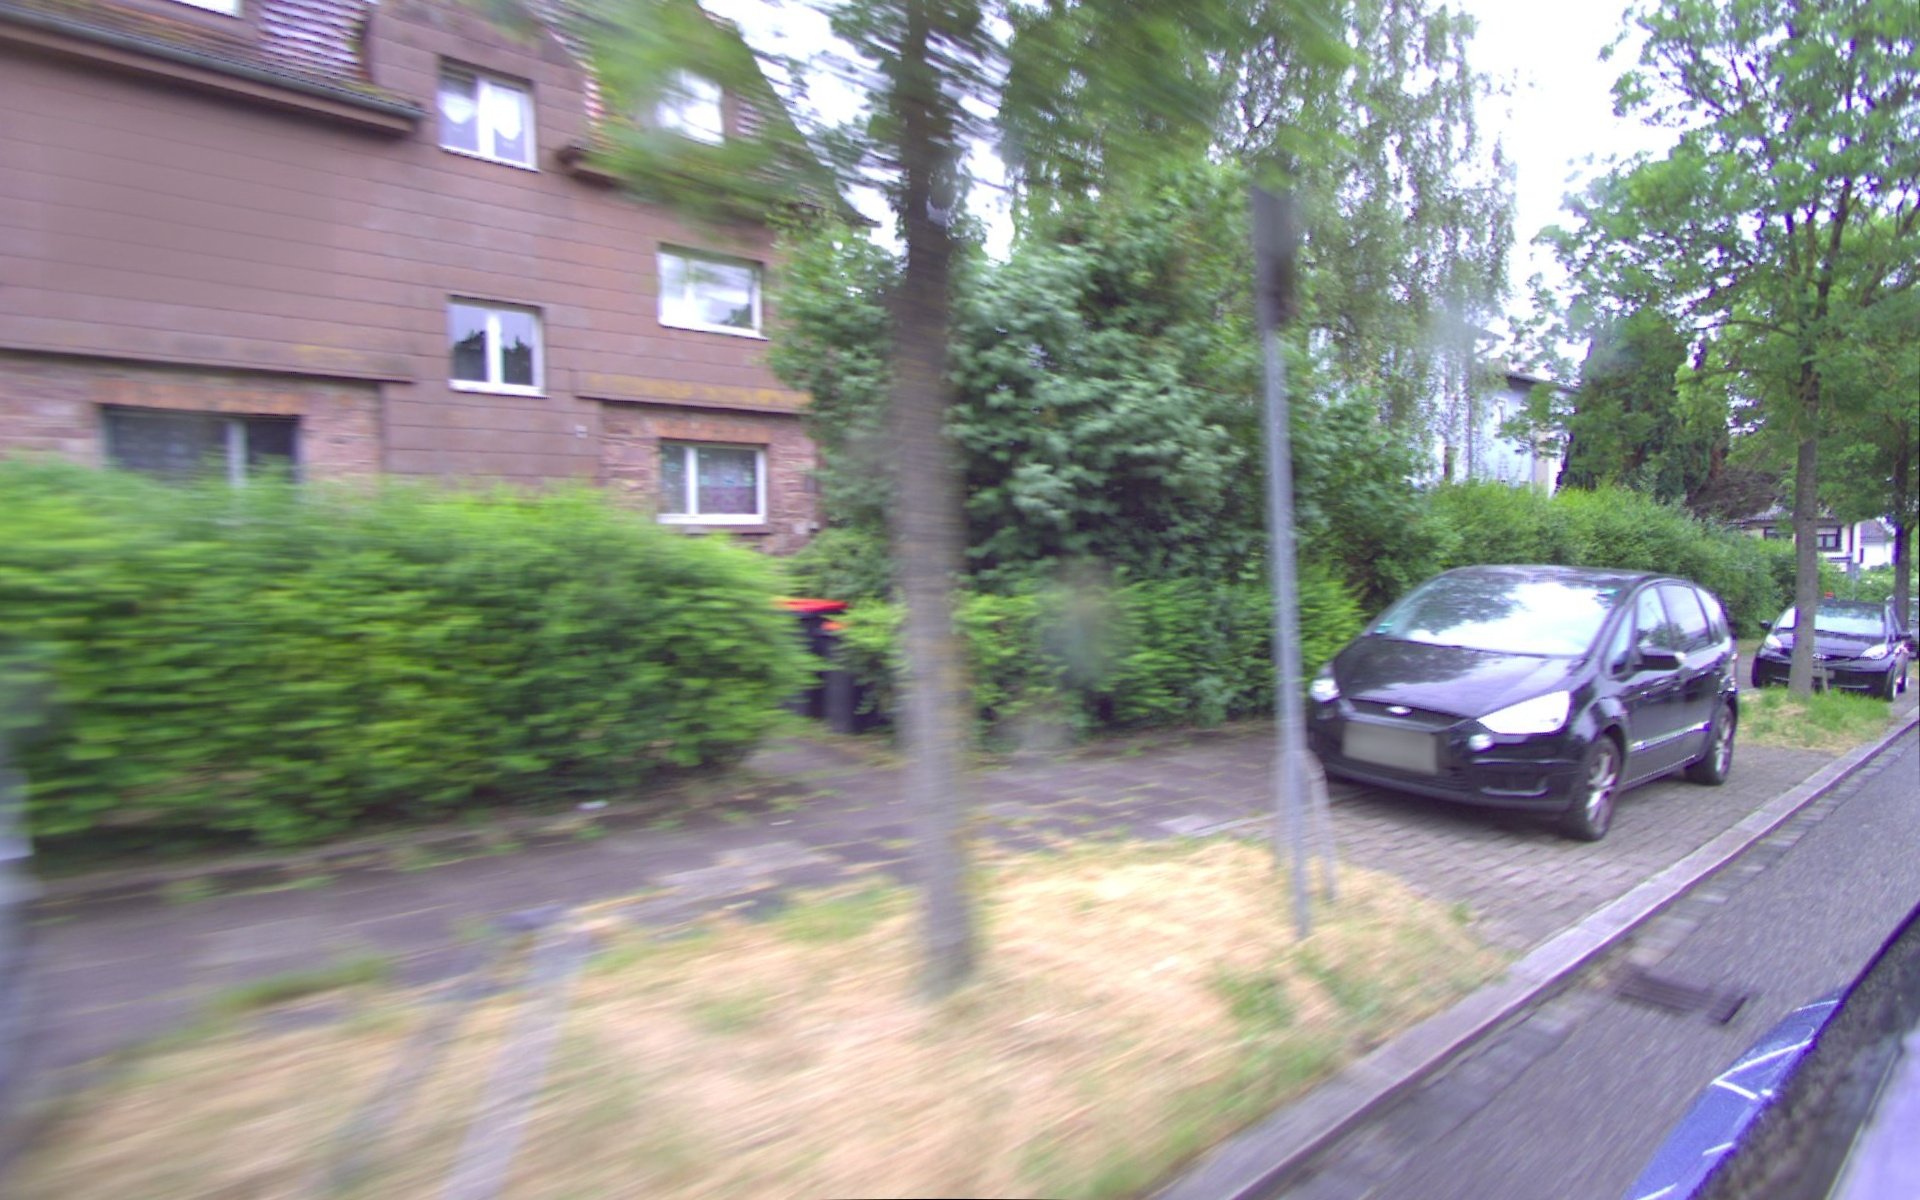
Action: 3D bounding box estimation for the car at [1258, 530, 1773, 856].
[{"bbox_3d":[4.295,0.434,7.472,4.504,1.698,1.828,0,3,-41],"label":"car"}]

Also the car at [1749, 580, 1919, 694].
[{"bbox_3d":[13.977,0.511,16.034,3.722,1.530,1.724,0,3,-43],"label":"car"}]

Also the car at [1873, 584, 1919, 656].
[{"bbox_3d":[23.594,0.485,24.650,3.946,1.615,1.644,0,3,-43],"label":"car"}]

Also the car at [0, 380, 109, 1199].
[{"bbox_3d":[-3.426,0.489,0.576,4.391,1.622,1.830,0,3,-37],"label":"car"}]

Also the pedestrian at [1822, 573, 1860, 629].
[{"bbox_3d":[27.390,0.029,31.464,0.641,1.700,0.710,0,2,-34],"label":"pedestrian"}]
